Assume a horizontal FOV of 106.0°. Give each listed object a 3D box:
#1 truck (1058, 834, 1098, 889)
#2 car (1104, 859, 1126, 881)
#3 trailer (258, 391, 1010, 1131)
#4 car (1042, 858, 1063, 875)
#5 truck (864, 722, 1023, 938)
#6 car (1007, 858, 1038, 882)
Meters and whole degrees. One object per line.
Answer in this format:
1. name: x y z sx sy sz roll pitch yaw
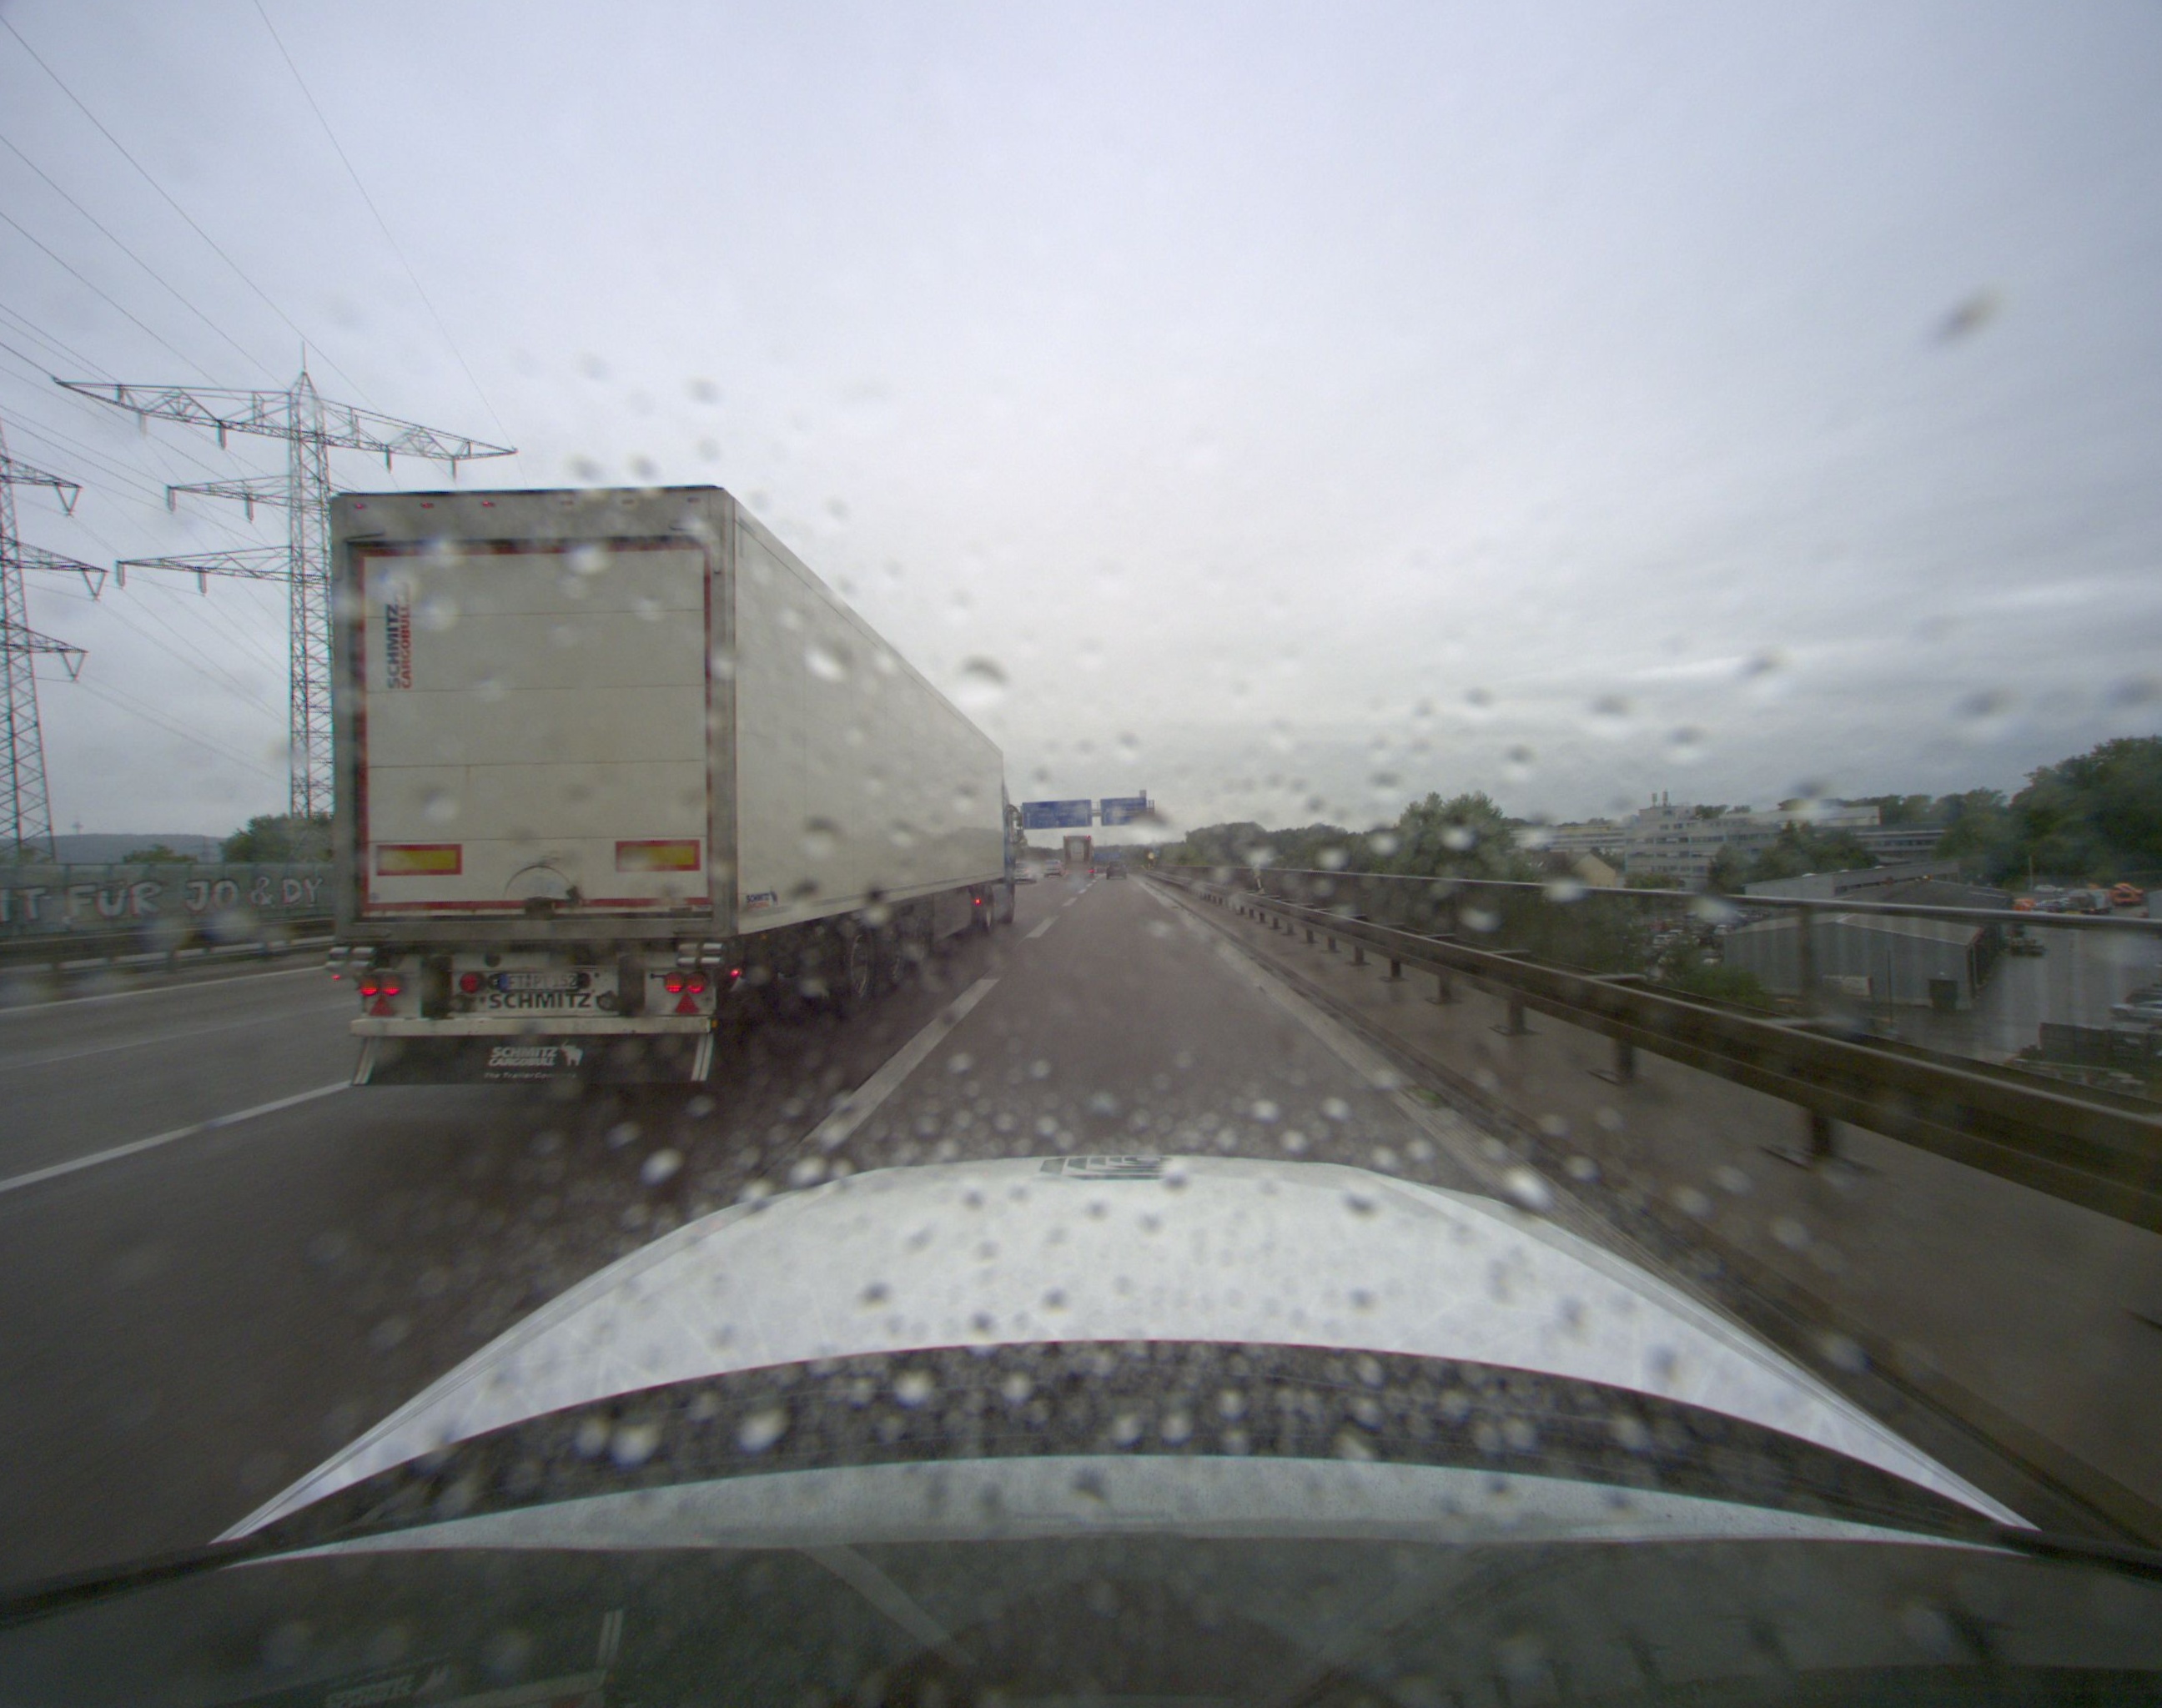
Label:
1. truck: -0.205 0.809 81.001 3.520 5.184 9.896 0 -2 2
2. car: 3.140 1.438 73.815 1.889 1.950 4.003 0 -2 3
3. trailer: -3.171 -0.460 12.002 2.333 4.157 14.834 0 -1 2
4. car: -3.292 1.508 94.952 2.041 1.950 4.002 0 -2 2
5. truck: -2.880 -0.434 18.846 2.333 4.157 6.349 0 -1 2
6. car: -4.439 1.228 62.422 1.886 1.724 4.002 0 -2 2
